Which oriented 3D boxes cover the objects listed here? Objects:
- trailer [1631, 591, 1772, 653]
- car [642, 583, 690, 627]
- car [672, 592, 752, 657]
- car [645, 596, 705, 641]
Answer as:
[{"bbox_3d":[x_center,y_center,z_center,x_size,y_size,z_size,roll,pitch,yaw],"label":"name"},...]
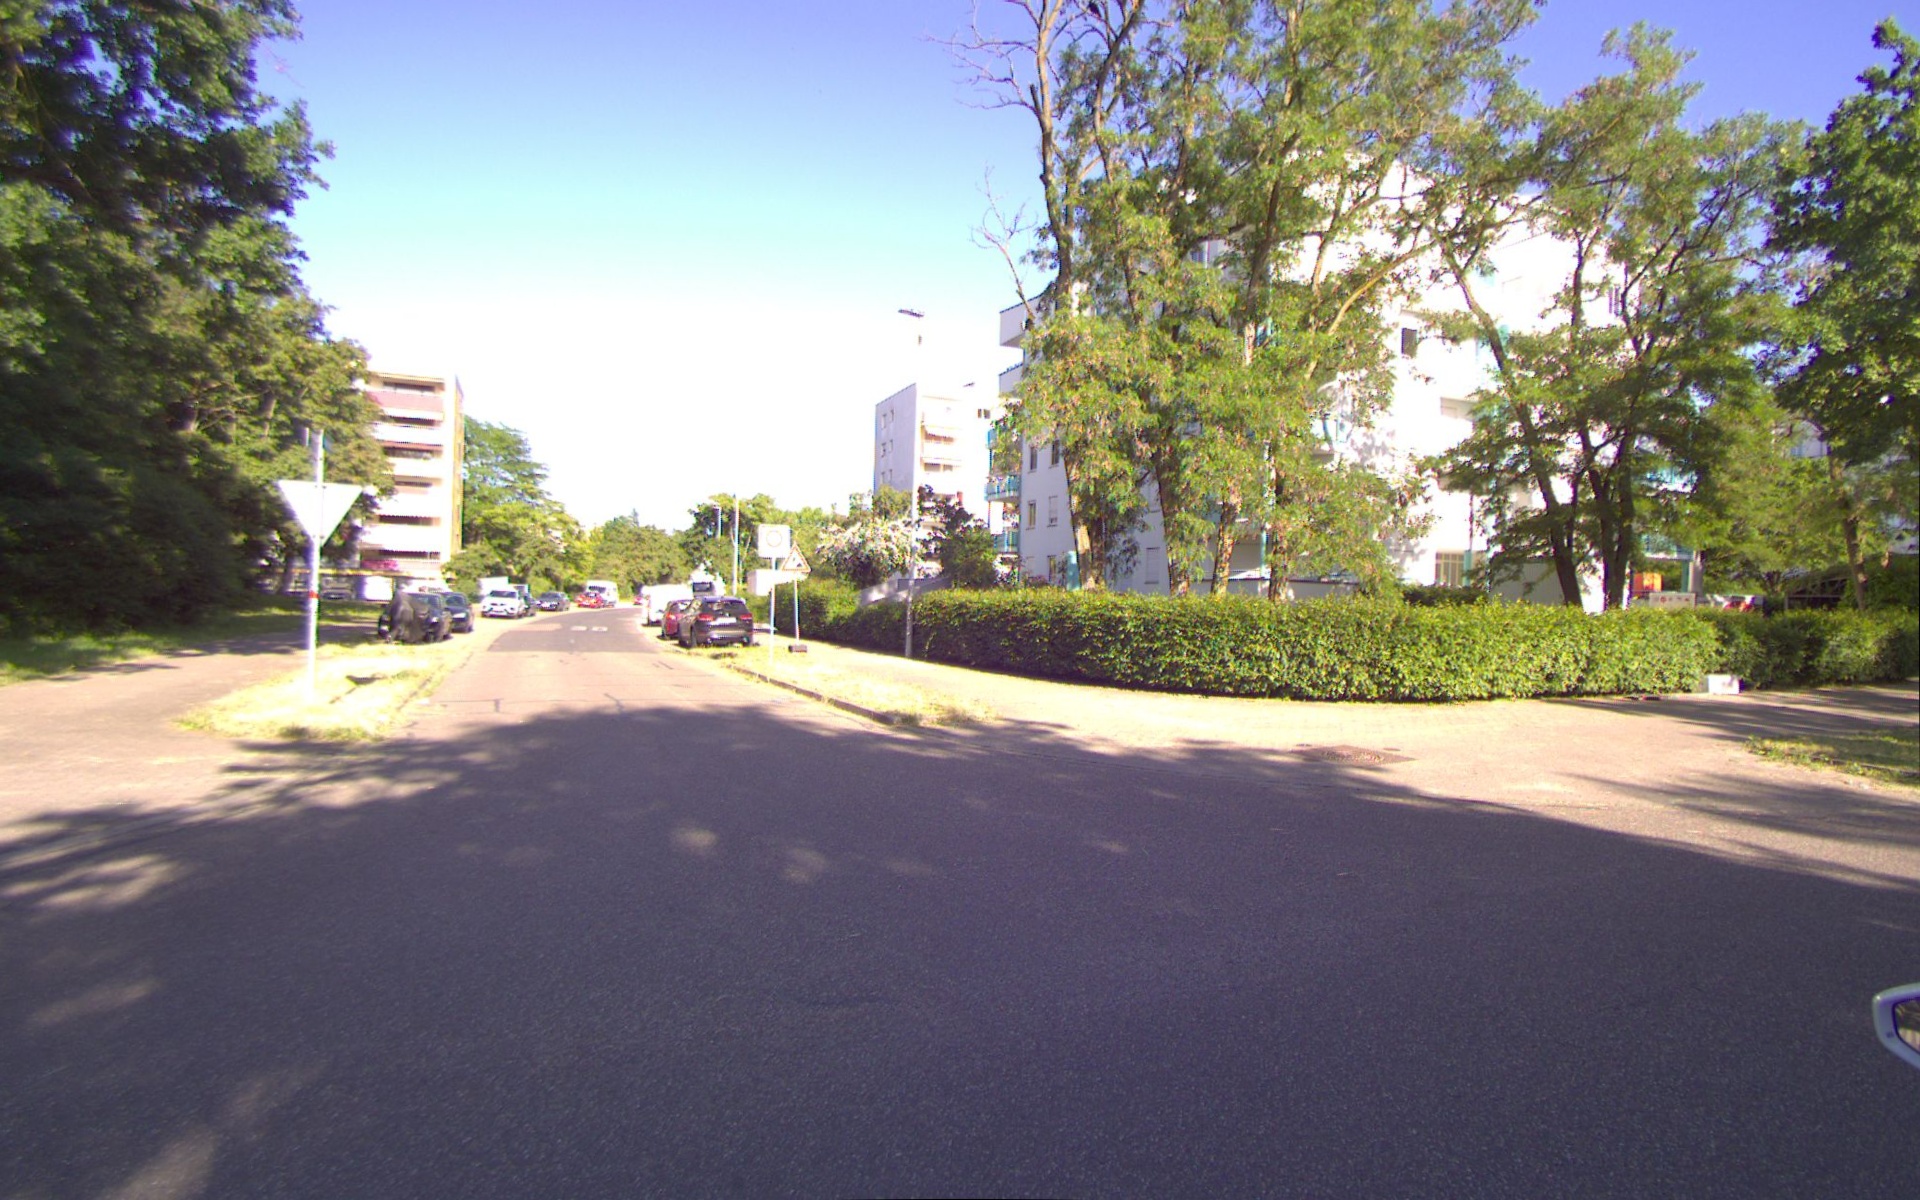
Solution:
[{"bbox_3d":[25.988,0.770,35.230,4.365,2.070,1.972,1,0,-22],"label":"trailer"},{"bbox_3d":[-14.765,0.239,50.364,1.803,2.088,3.813,1,0,-24],"label":"car"},{"bbox_3d":[-7.688,0.711,30.948,1.732,1.808,3.813,1,0,-24],"label":"car"},{"bbox_3d":[-10.609,0.647,37.261,1.615,1.531,3.813,1,0,-24],"label":"car"}]
